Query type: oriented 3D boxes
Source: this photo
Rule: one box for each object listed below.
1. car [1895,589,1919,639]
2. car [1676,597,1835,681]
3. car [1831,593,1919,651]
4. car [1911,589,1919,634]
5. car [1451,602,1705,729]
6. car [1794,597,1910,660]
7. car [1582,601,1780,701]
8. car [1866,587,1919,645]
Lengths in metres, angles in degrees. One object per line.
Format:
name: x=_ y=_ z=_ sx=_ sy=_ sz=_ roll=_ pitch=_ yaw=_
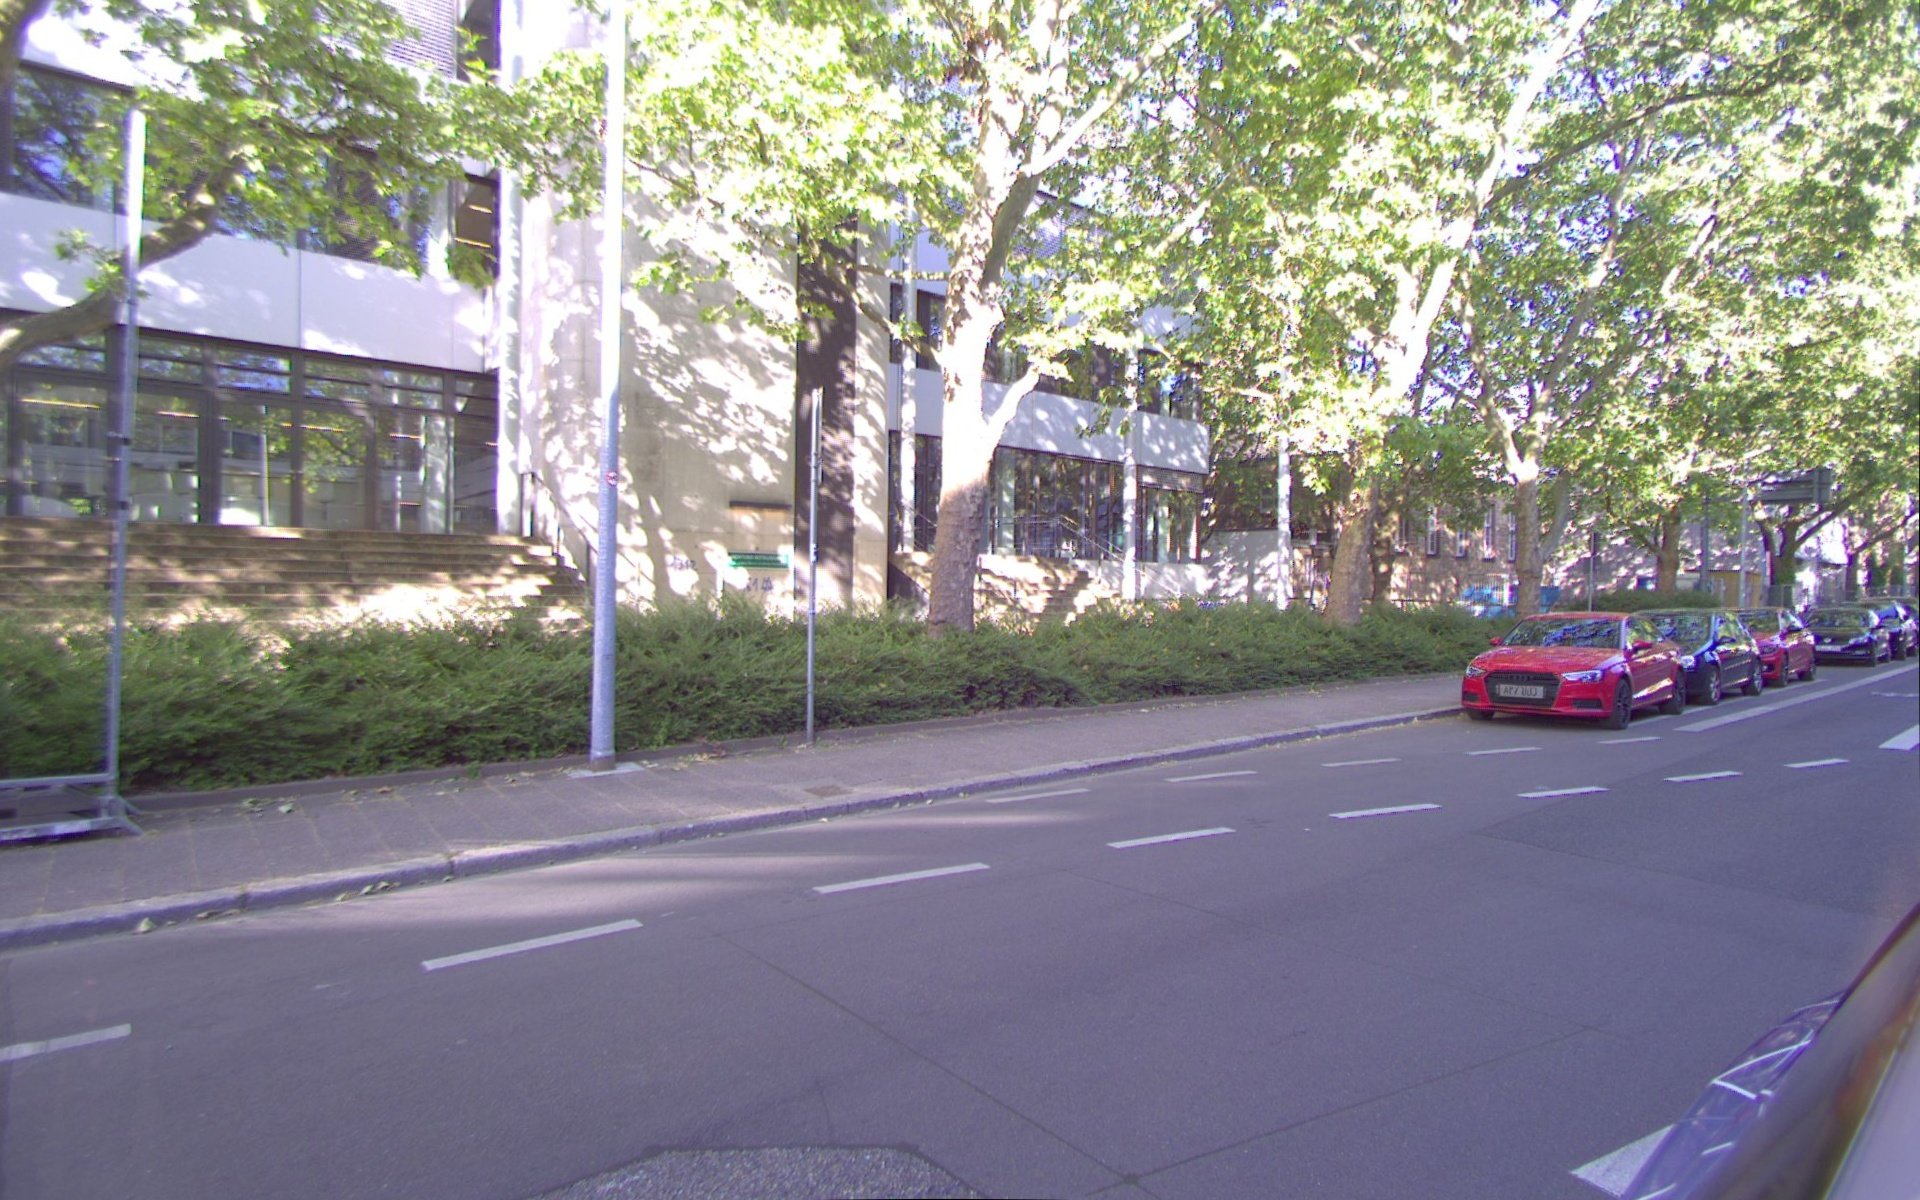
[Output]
car: x=35.905 y=0.483 z=37.246 sx=4.475 sy=1.777 sz=1.788 roll=0 pitch=-1 yaw=-42
car: x=15.855 y=0.702 z=20.103 sx=4.092 sy=1.502 sz=1.815 roll=0 pitch=-1 yaw=-42
car: x=26.592 y=0.589 z=29.128 sx=4.092 sy=1.573 sz=1.788 roll=0 pitch=-1 yaw=-42
car: x=39.623 y=0.438 z=40.397 sx=4.475 sy=1.777 sz=2.040 roll=0 pitch=-1 yaw=-42
car: x=8.356 y=0.755 z=13.542 sx=4.092 sy=1.431 sz=1.815 roll=0 pitch=-1 yaw=-42
car: x=23.047 y=0.681 z=26.096 sx=4.092 sy=1.478 sz=1.788 roll=0 pitch=-1 yaw=-42
car: x=11.950 y=0.740 z=16.682 sx=4.092 sy=1.431 sz=1.815 roll=0 pitch=-1 yaw=-42
car: x=31.053 y=0.489 z=33.010 sx=4.271 sy=1.777 sz=1.788 roll=0 pitch=-1 yaw=-42
